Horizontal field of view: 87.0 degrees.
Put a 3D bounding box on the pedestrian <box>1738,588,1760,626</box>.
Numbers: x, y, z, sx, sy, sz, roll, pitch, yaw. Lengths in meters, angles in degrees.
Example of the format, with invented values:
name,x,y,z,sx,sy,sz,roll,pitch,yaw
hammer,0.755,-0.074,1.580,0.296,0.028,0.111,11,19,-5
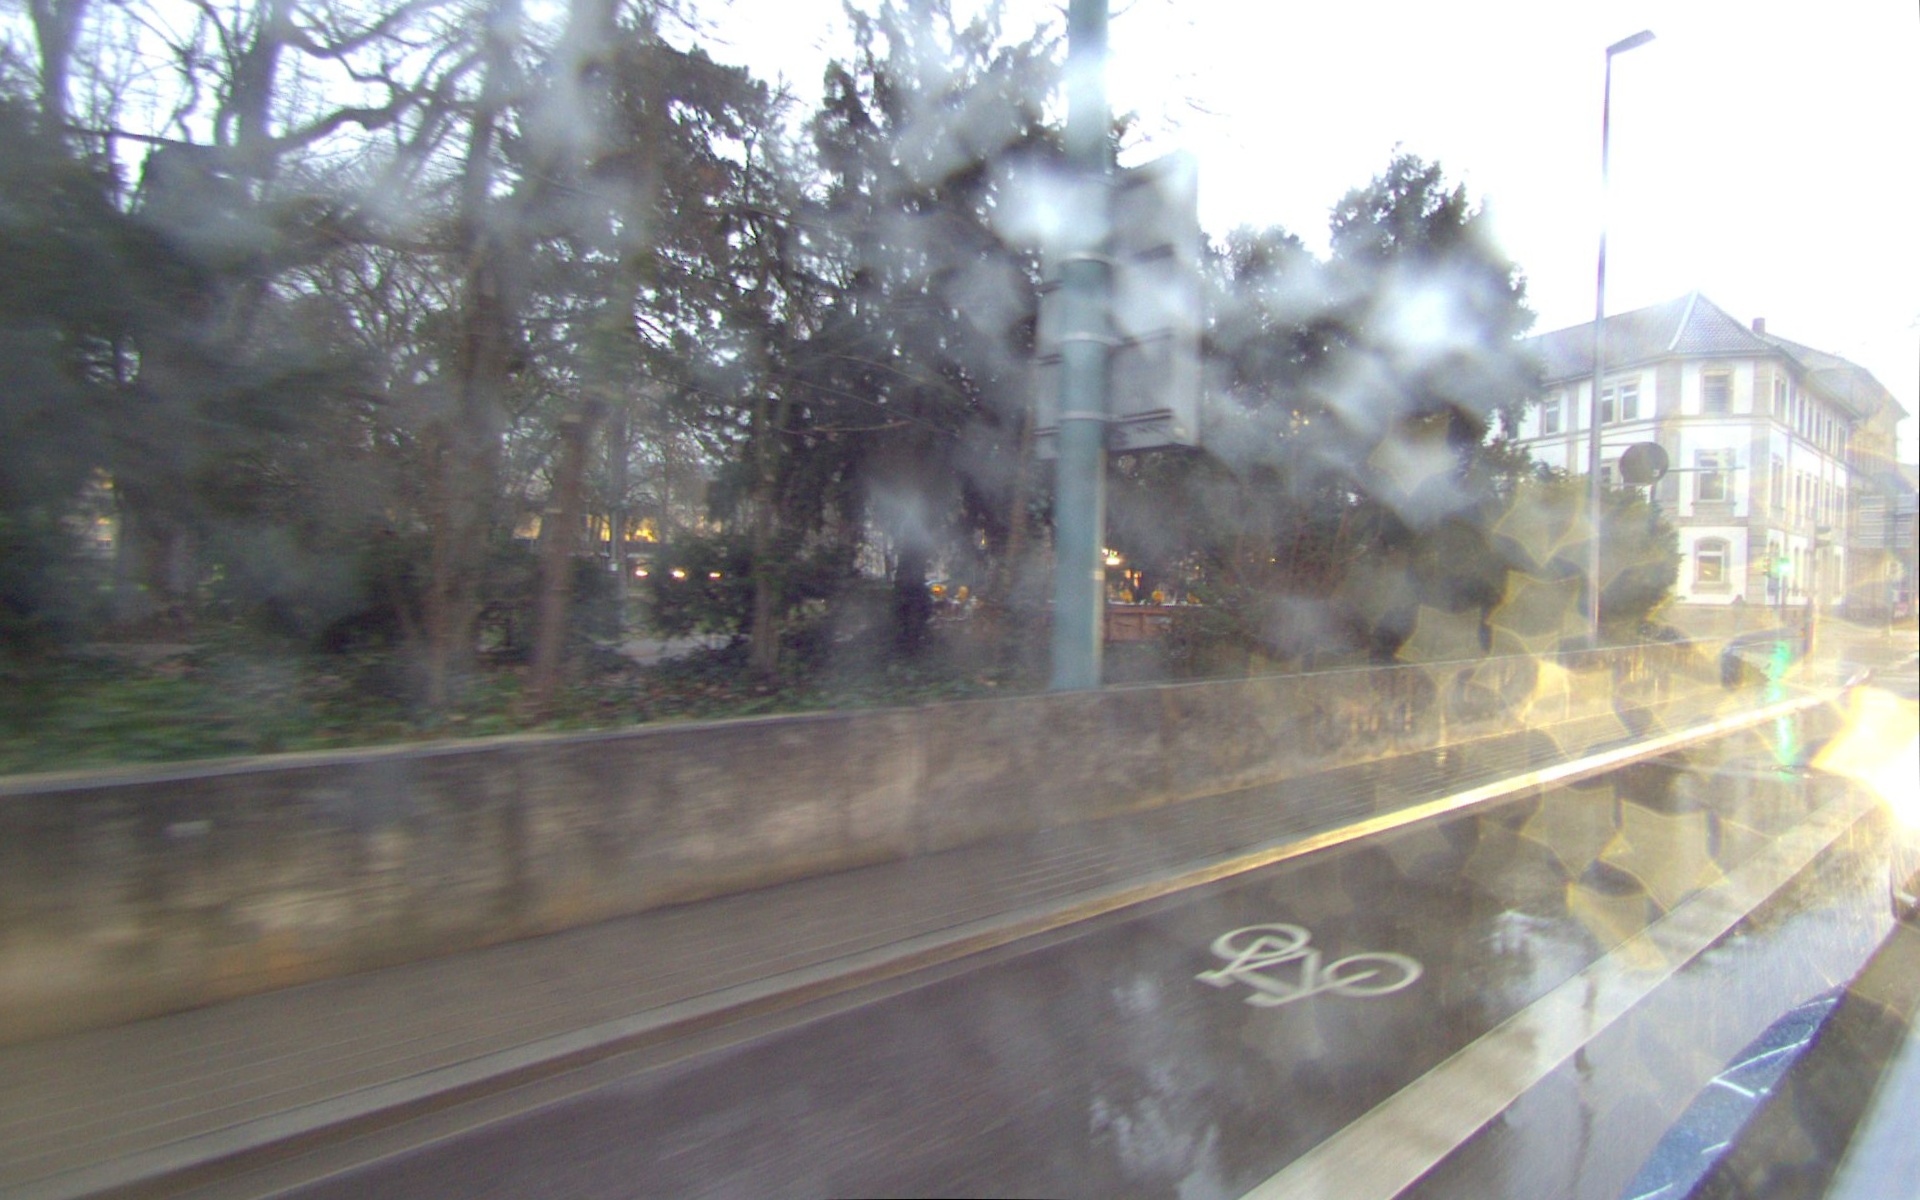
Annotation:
name,x,y,z,sx,sy,sz,roll,pitch,yaw
pedestrian,32.312,0.288,41.448,0.515,1.529,0.583,1,1,22

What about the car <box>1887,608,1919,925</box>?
name,x,y,z,sx,sy,sz,roll,pitch,yaw
car,6.230,0.730,5.180,3.912,1.388,1.796,-1,0,-41
